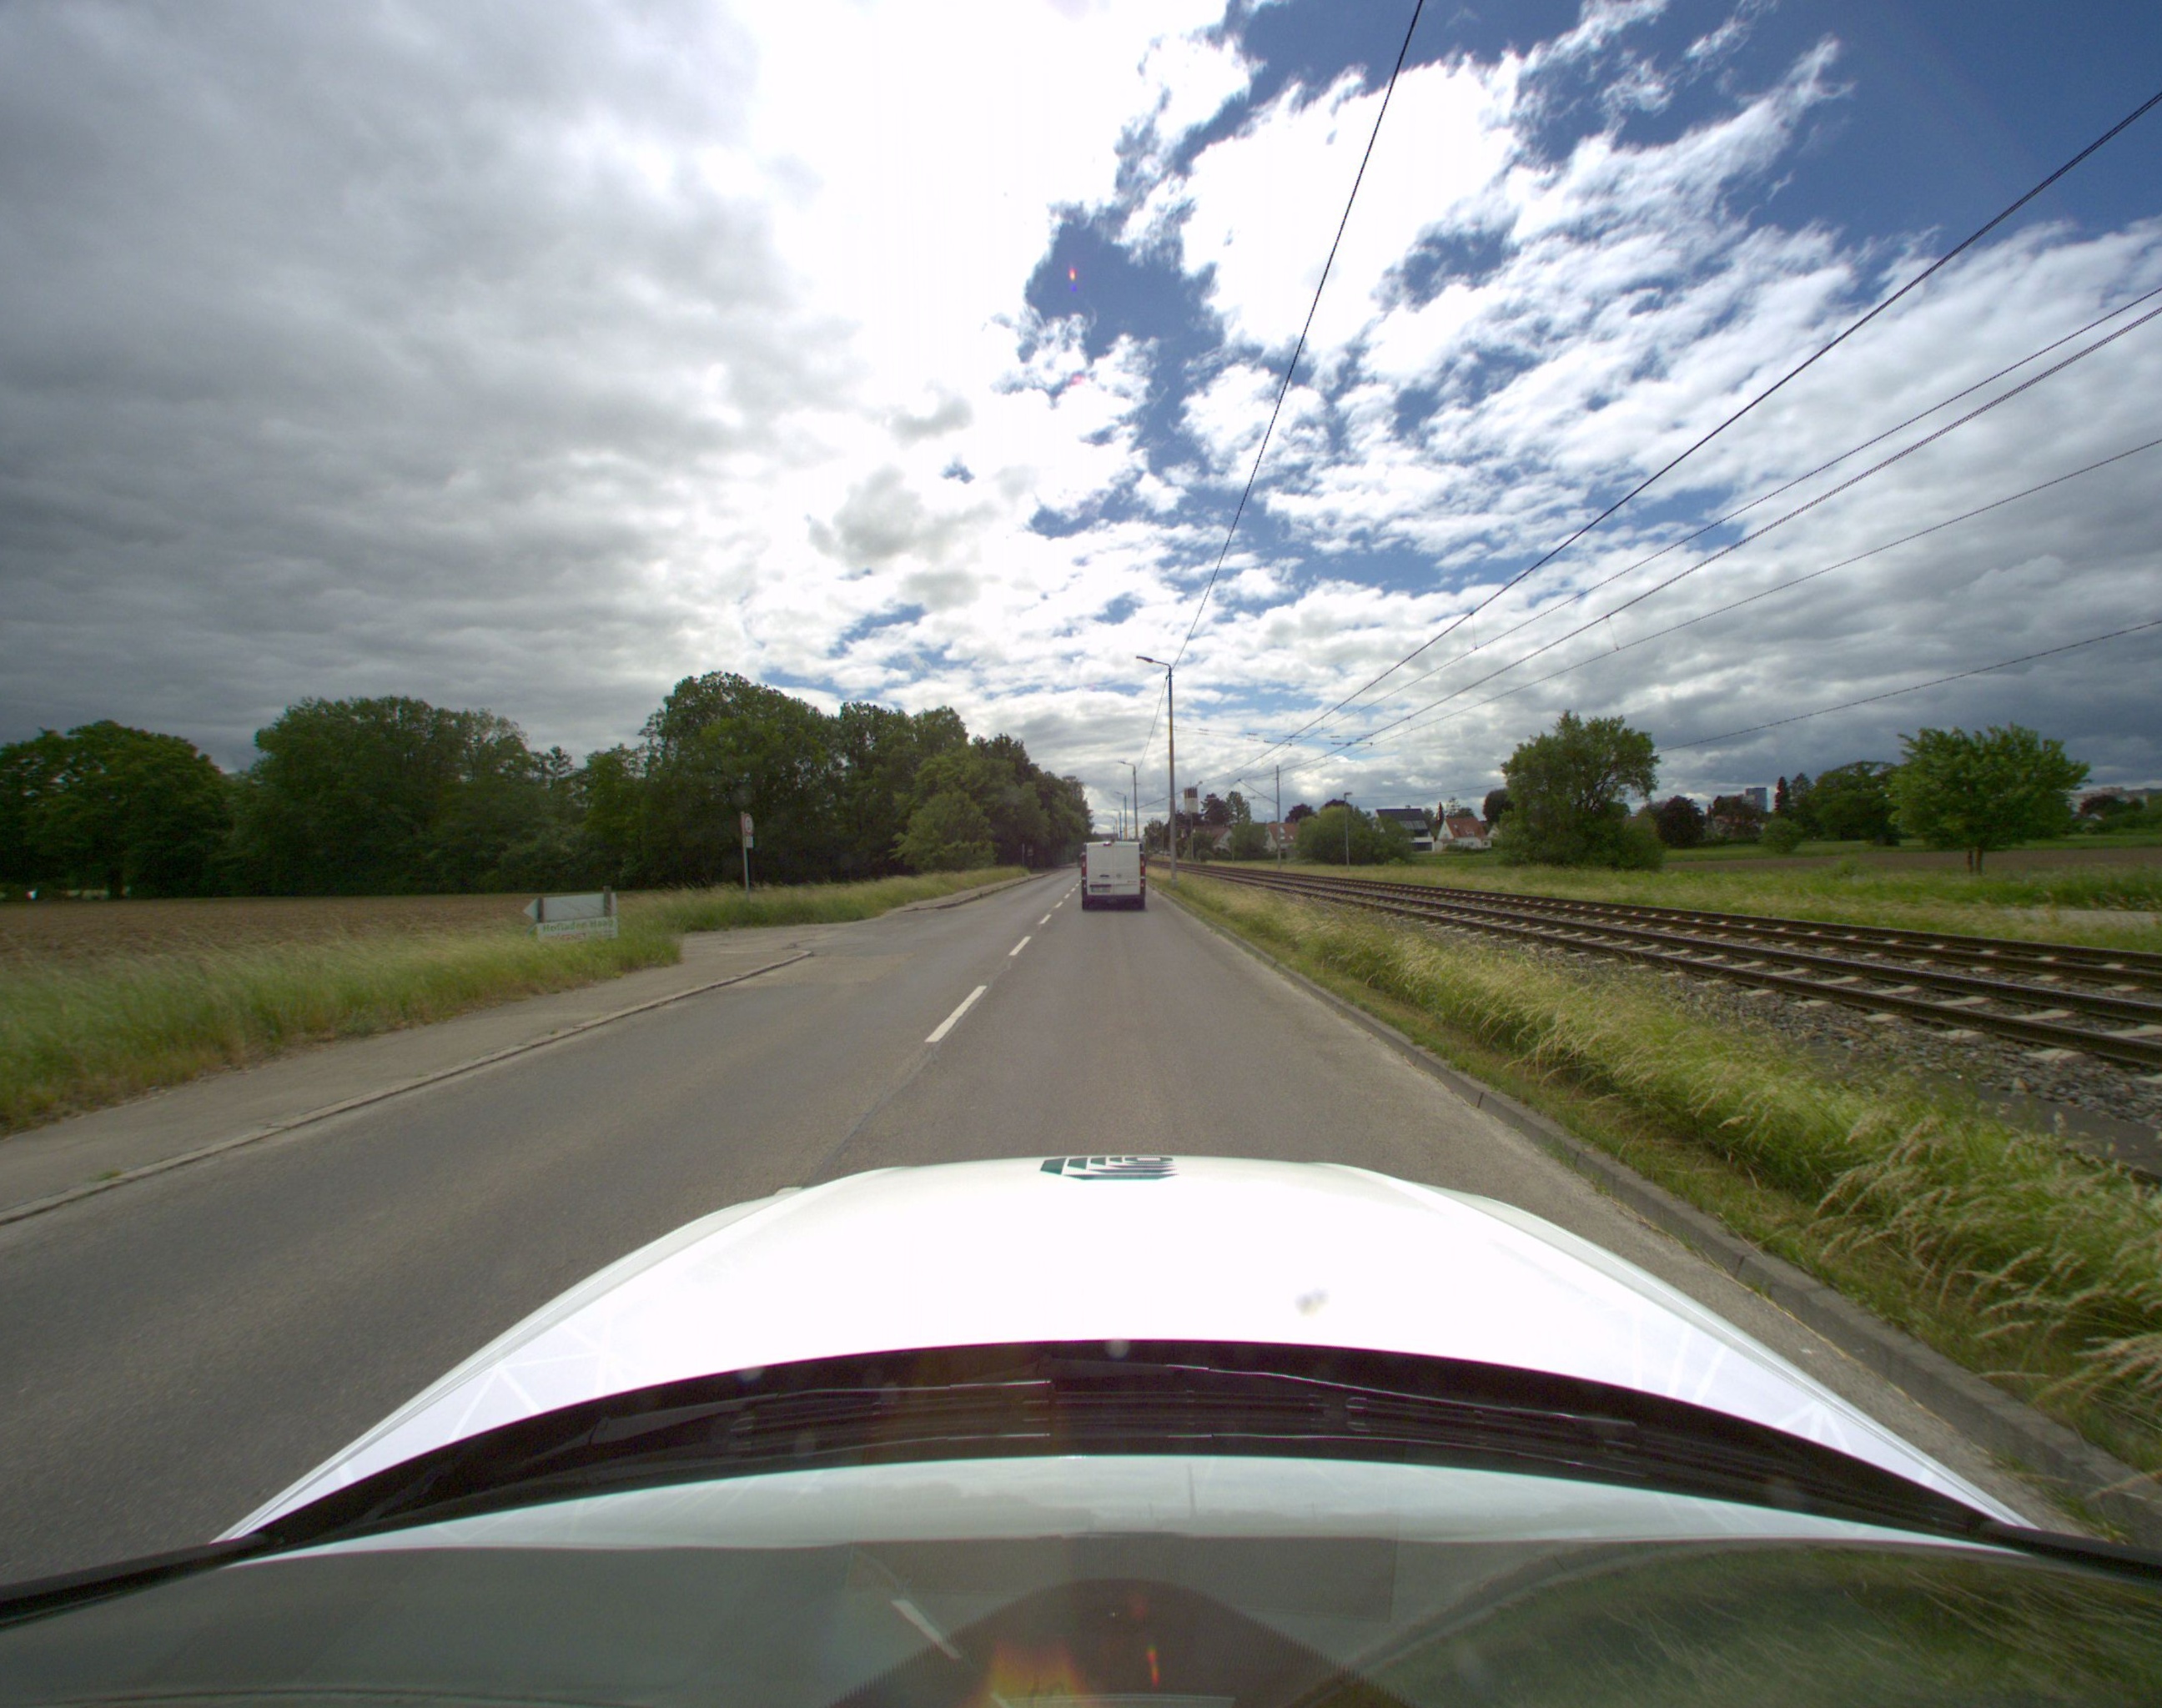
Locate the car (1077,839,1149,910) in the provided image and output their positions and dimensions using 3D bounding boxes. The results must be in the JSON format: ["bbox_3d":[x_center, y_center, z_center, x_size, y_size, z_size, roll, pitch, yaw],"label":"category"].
[{"bbox_3d":[0.908,0.597,24.733,1.987,1.957,4.000,-1,-1,0],"label":"car"}]

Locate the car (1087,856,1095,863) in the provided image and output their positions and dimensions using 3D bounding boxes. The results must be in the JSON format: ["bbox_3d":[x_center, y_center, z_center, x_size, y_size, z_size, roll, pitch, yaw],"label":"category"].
[{"bbox_3d":[2.817,1.458,220.201,1.986,1.717,4.125,-2,-1,2],"label":"car"}]

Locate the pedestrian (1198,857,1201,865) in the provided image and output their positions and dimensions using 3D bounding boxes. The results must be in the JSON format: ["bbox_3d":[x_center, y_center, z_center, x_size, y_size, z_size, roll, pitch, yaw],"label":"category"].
[{"bbox_3d":[24.066,1.439,165.049,0.524,1.506,0.657,-1,-1,1],"label":"pedestrian"}]
